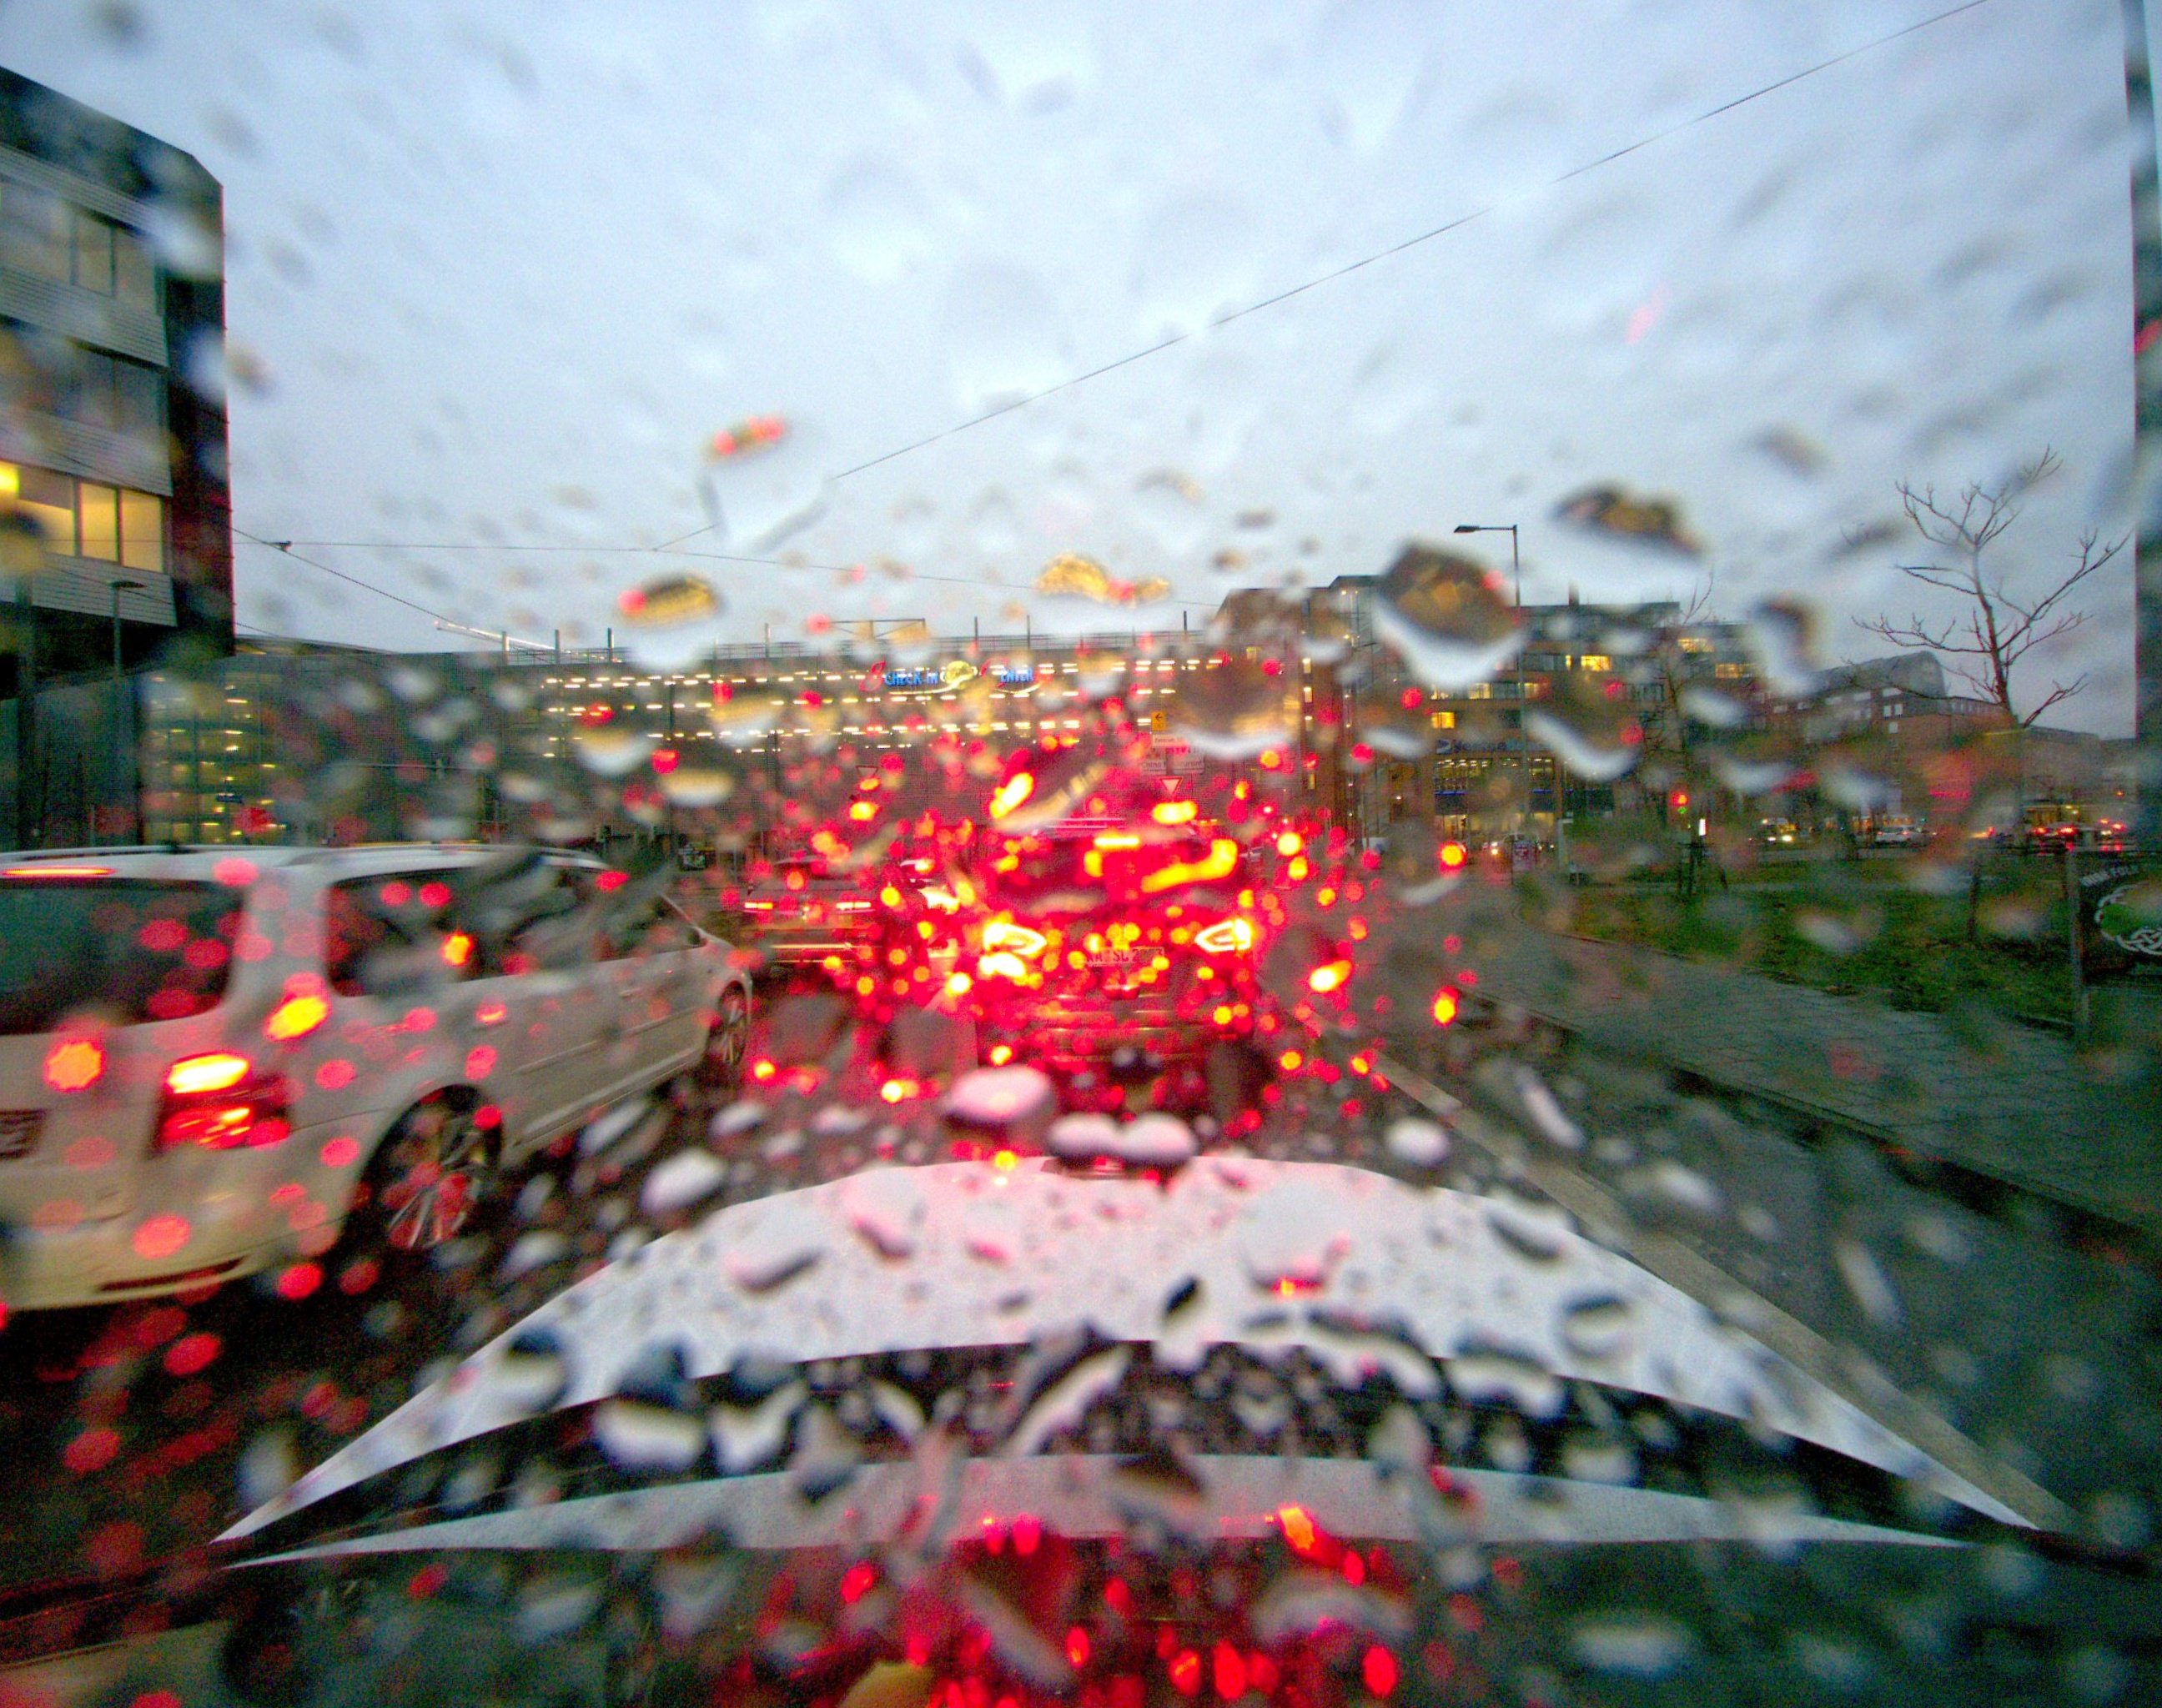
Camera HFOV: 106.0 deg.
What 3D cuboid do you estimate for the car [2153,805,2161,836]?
[{"bbox_3d":[66.712,-2.095,48.196,4.664,1.851,1.827,-2,-1,-7],"label":"car"}]

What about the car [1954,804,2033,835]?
[{"bbox_3d":[64.235,-2.417,57.313,4.948,2.013,1.987,0,0,-20],"label":"car"}]

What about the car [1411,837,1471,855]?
[{"bbox_3d":[29.948,-0.664,67.847,4.209,1.390,1.796,-2,0,-6],"label":"car"}]

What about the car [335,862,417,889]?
[{"bbox_3d":[-57.727,1.759,66.725,4.831,2.000,1.797,-2,0,-5],"label":"car"}]

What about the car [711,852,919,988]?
[{"bbox_3d":[-3.572,0.790,11.724,1.748,1.574,3.997,-2,0,-2],"label":"car"}]

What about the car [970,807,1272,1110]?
[{"bbox_3d":[0.226,0.599,6.825,1.730,1.738,4.246,1,0,0],"label":"car"}]

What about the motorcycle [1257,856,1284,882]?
[{"bbox_3d":[7.346,0.563,31.629,0.848,0.972,1.585,-2,0,7],"label":"motorcycle"}]

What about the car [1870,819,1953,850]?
[{"bbox_3d":[56.614,-1.301,55.548,3.985,2.013,1.994,0,0,-9],"label":"car"}]

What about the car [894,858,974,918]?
[{"bbox_3d":[-3.441,0.741,19.668,1.538,1.251,4.059,-1,0,-6],"label":"car"}]

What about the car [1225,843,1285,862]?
[{"bbox_3d":[14.113,-0.150,66.207,4.413,1.390,1.796,-2,0,-6],"label":"car"}]

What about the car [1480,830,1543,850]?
[{"bbox_3d":[36.370,-1.174,68.817,4.425,1.534,1.796,-2,0,-6],"label":"car"}]

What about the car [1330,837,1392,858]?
[{"bbox_3d":[22.871,-0.532,66.638,4.413,1.595,1.796,-2,0,-6],"label":"car"}]

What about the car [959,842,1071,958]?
[{"bbox_3d":[-1.046,0.682,13.884,1.632,1.697,3.667,-1,0,-3],"label":"car"}]

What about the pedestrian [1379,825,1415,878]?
[{"bbox_3d":[11.777,-0.113,30.332,1.159,1.924,0.904,1,0,25],"label":"pedestrian"}]

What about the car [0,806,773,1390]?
[{"bbox_3d":[-3.276,0.672,4.380,1.665,1.660,4.147,1,0,0],"label":"car"}]

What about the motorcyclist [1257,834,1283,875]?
[{"bbox_3d":[7.335,0.013,31.646,0.863,1.534,1.110,-2,0,7],"label":"motorcyclist"}]
